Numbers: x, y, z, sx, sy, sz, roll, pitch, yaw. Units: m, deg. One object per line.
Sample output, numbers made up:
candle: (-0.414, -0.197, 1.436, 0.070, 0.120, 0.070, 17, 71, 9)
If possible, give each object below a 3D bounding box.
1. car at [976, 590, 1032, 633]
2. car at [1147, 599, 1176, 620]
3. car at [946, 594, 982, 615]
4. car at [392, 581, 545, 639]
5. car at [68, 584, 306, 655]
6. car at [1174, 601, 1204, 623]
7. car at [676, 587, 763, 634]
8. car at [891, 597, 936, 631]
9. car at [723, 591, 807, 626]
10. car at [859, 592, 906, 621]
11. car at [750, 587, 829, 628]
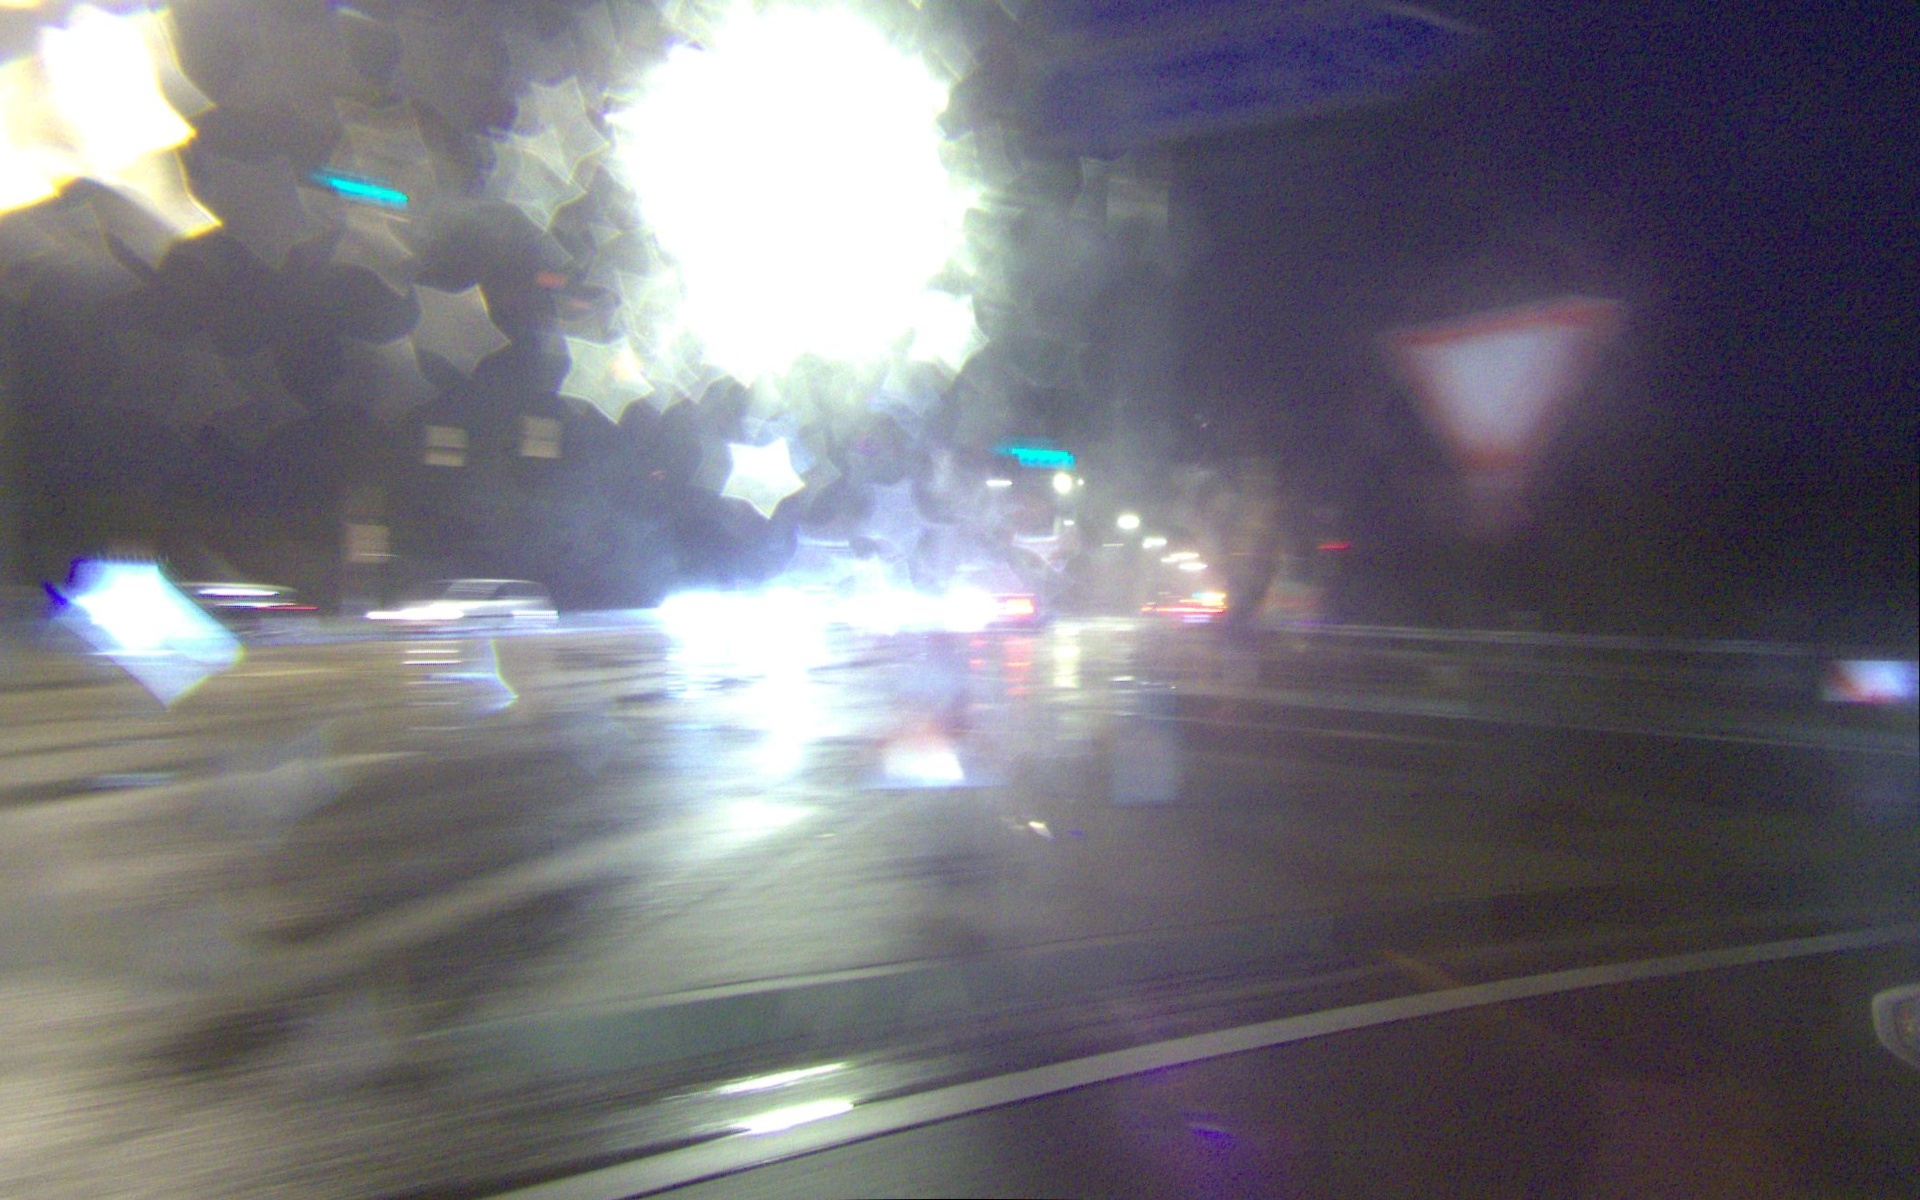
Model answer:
car: (1.697, 0.441, 37.361, 1.766, 1.471, 4.271, 1, -1, 7)
car: (18.789, 0.939, 93.469, 2.141, 1.622, 4.002, 6, -1, 17)
car: (0.347, 0.337, 77.431, 1.721, 1.563, 3.792, 1, 1, 17)
car: (-13.455, 0.242, 27.749, 1.636, 1.468, 3.820, 1, 1, 16)
car: (-17.689, 0.399, 23.243, 1.817, 1.476, 4.097, 1, 1, 16)
car: (19.781, 1.055, 86.691, 1.879, 1.622, 4.001, 5, -1, 20)
car: (-11.049, 0.471, 46.447, 1.857, 2.044, 4.353, 1, 0, 18)
car: (-2.904, 0.872, 63.247, 1.563, 2.040, 3.792, 1, 0, 18)
car: (-8.335, 0.359, 43.346, 1.618, 1.377, 4.455, 1, 0, 18)
car: (-5.189, 0.427, 67.591, 1.720, 1.865, 4.016, 1, 0, 17)
car: (-6.399, 0.252, 37.970, 1.563, 1.446, 3.351, 1, 1, 18)
